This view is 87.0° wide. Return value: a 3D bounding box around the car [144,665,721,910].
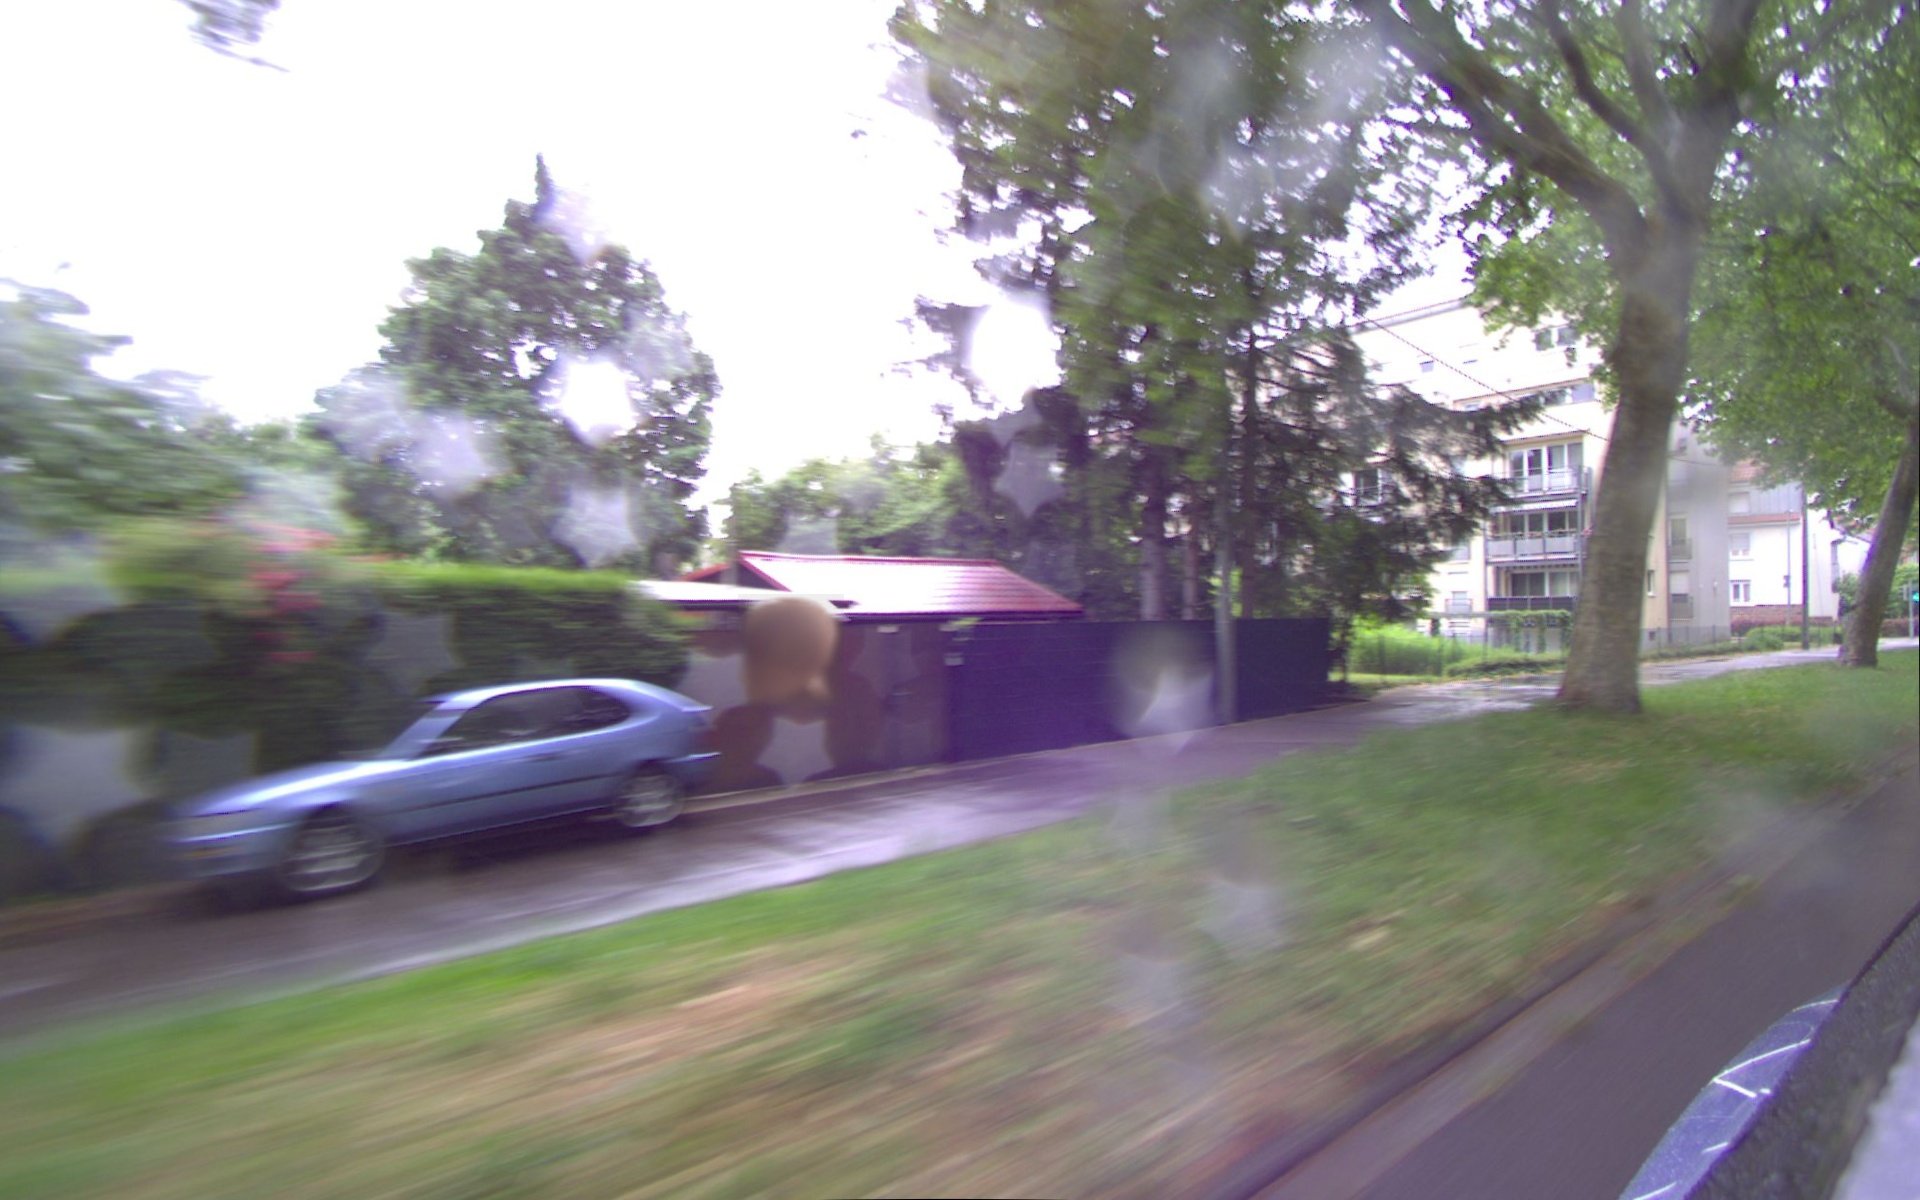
[{"bbox_3d":[-4.227,1.352,8.476,3.934,1.343,1.796,-1,-4,-44],"label":"car"}]
